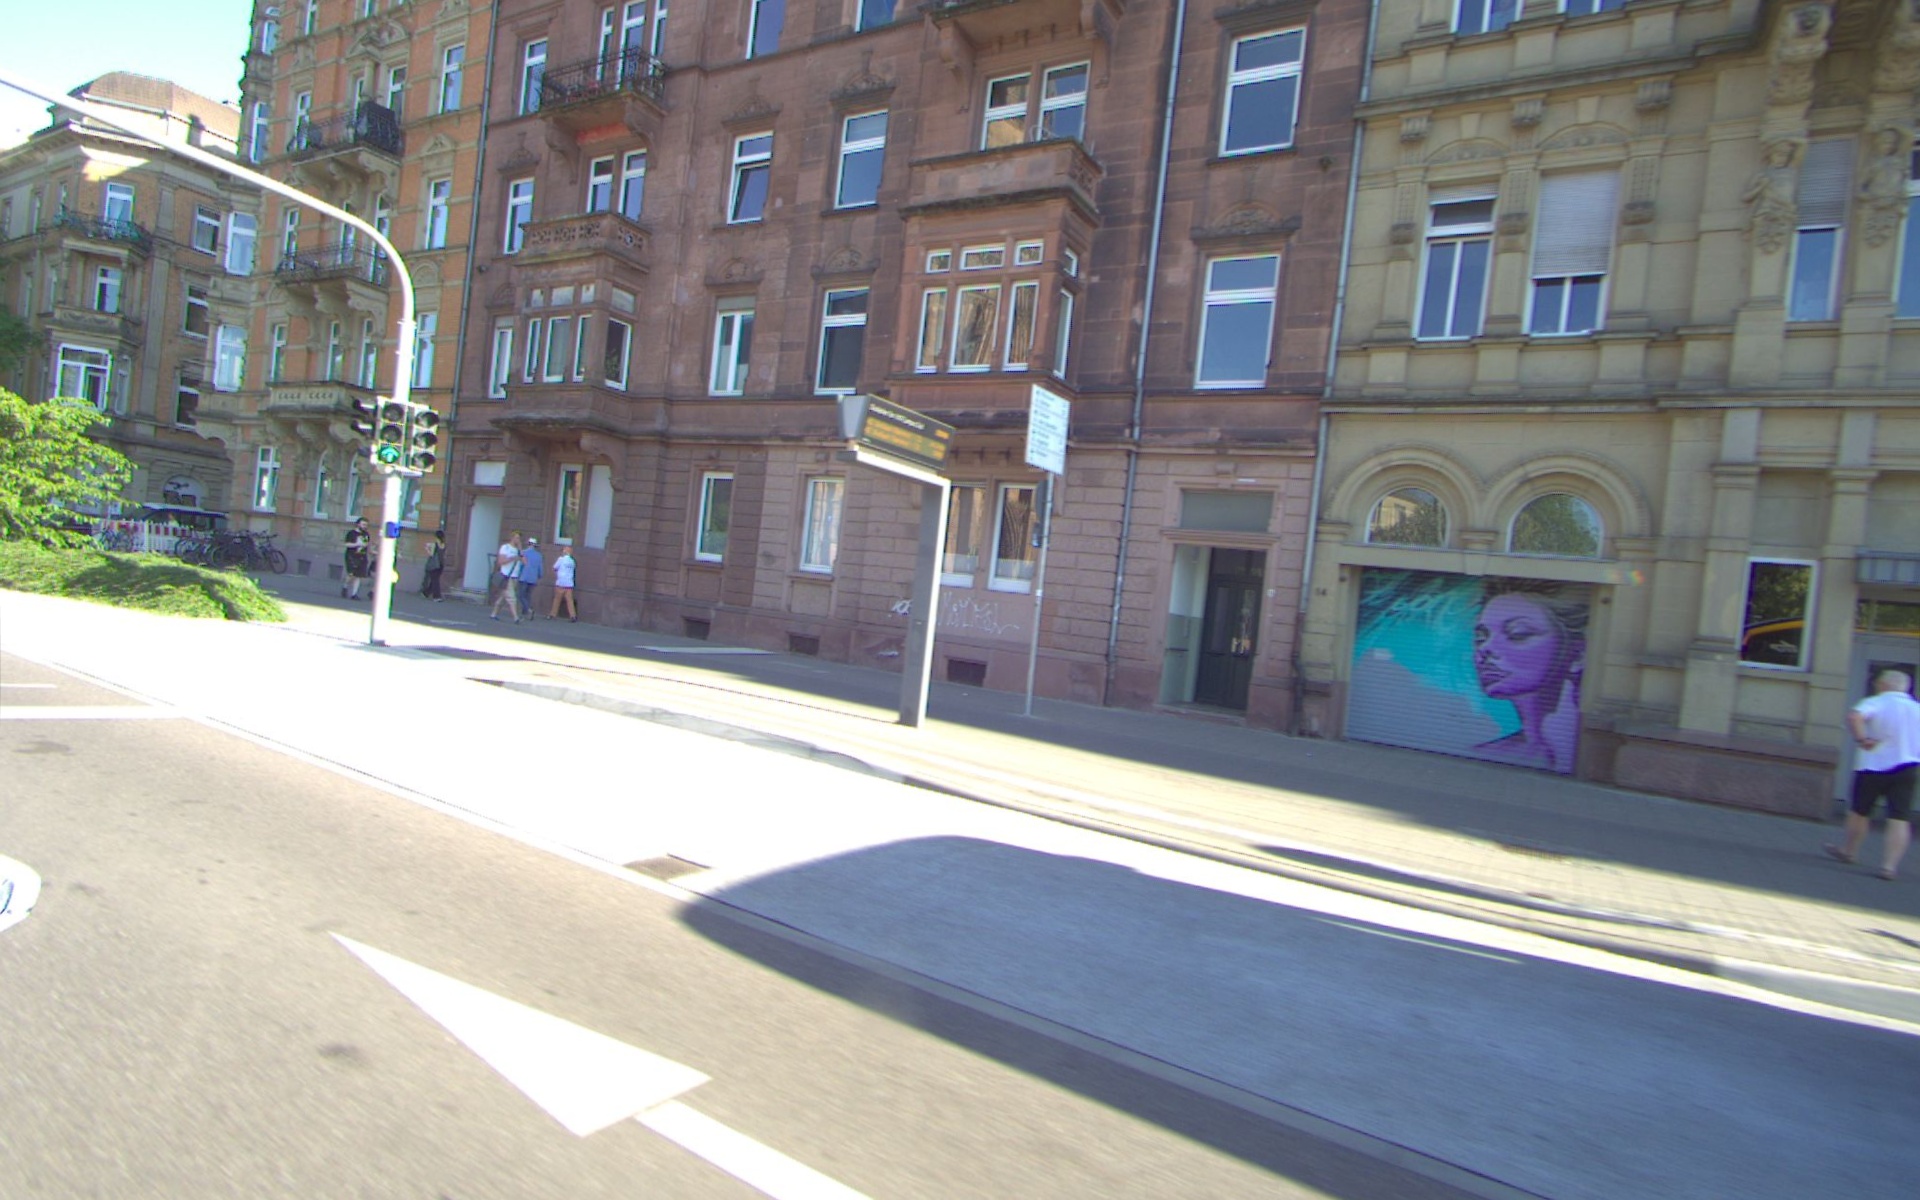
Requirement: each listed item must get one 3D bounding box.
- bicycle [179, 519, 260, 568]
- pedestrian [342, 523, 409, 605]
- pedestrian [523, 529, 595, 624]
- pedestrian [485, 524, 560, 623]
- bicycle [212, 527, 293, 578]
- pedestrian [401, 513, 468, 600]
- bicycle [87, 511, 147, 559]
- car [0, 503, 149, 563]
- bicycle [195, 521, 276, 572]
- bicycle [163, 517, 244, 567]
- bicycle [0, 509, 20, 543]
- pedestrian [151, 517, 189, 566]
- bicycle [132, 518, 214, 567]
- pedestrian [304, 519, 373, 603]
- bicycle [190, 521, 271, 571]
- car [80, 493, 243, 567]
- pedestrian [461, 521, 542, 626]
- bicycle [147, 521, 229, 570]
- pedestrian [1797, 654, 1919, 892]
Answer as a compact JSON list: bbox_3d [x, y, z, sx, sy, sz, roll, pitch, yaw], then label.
[{"bbox_3d":[-21.416,-1.611,29.144,0.481,1.255,1.888,5,1,19],"label":"bicycle"},{"bbox_3d":[-13.005,-0.803,22.378,1.118,1.677,0.703,7,1,31],"label":"pedestrian"},{"bbox_3d":[-8.889,-0.520,22.307,1.118,1.954,0.823,7,1,31],"label":"pedestrian"},{"bbox_3d":[-9.329,-0.558,21.445,1.118,1.954,0.823,7,1,31],"label":"pedestrian"},{"bbox_3d":[-19.905,-1.317,28.364,0.481,1.255,1.888,5,1,19],"label":"bicycle"},{"bbox_3d":[-12.699,-1.038,24.308,1.118,1.954,0.823,7,1,31],"label":"pedestrian"},{"bbox_3d":[-24.475,-1.877,29.208,1.855,1.255,0.490,5,1,22],"label":"bicycle"},{"bbox_3d":[-29.478,-2.208,32.847,1.782,1.433,4.255,9,2,31],"label":"car"},{"bbox_3d":[-20.455,-1.492,28.454,0.481,1.255,1.888,5,1,19],"label":"bicycle"},{"bbox_3d":[-21.921,-1.661,29.205,0.481,1.255,1.888,5,1,19],"label":"bicycle"},{"bbox_3d":[-34.912,-2.738,36.613,1.790,1.061,0.518,10,3,31],"label":"bicycle"},{"bbox_3d":[-26.660,-1.979,33.949,0.692,1.554,0.659,6,1,-18],"label":"pedestrian"},{"bbox_3d":[-23.044,-1.673,29.511,0.481,1.255,1.888,5,1,19],"label":"bicycle"},{"bbox_3d":[-13.418,-0.844,21.713,1.118,1.677,0.703,7,1,31],"label":"pedestrian"},{"bbox_3d":[-20.913,-1.526,28.870,0.481,1.255,1.888,5,1,19],"label":"bicycle"},{"bbox_3d":[-31.386,-2.690,39.696,1.745,2.150,4.585,9,1,29],"label":"car"},{"bbox_3d":[-9.171,-0.528,20.112,1.118,1.954,0.823,7,1,31],"label":"pedestrian"},{"bbox_3d":[-22.485,-1.584,29.336,0.481,1.255,1.888,5,1,19],"label":"bicycle"},{"bbox_3d":[8.007,1.467,8.808,0.768,1.857,0.850,10,4,39],"label":"pedestrian"}]
